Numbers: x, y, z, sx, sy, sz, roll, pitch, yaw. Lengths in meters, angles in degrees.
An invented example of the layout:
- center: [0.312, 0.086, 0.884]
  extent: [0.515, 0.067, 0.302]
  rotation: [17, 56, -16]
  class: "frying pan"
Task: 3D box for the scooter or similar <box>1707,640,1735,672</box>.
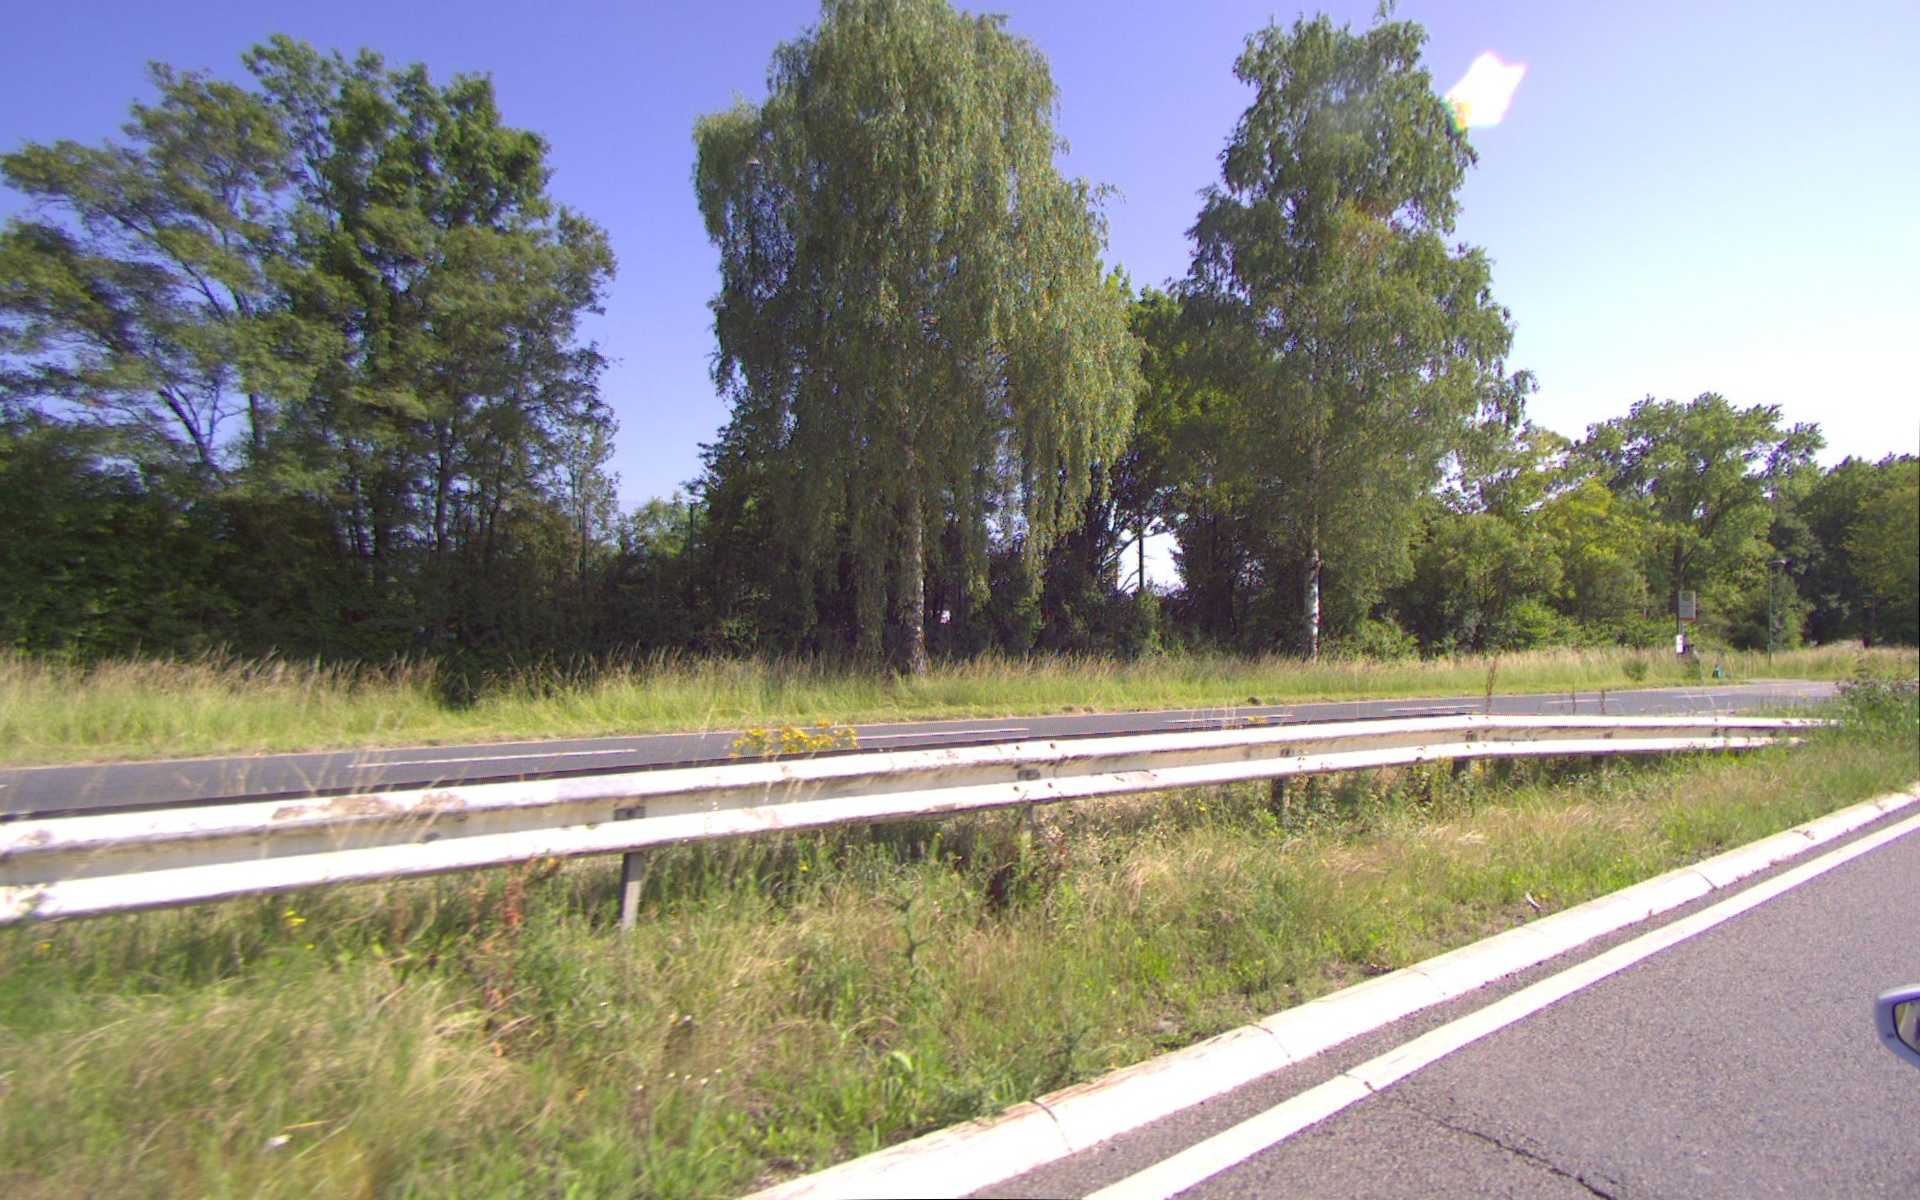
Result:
- center: [29.281, 2.157, 38.643]
  extent: [1.325, 1.201, 0.366]
  rotation: [2, -2, -31]
  class: "scooter or similar"
